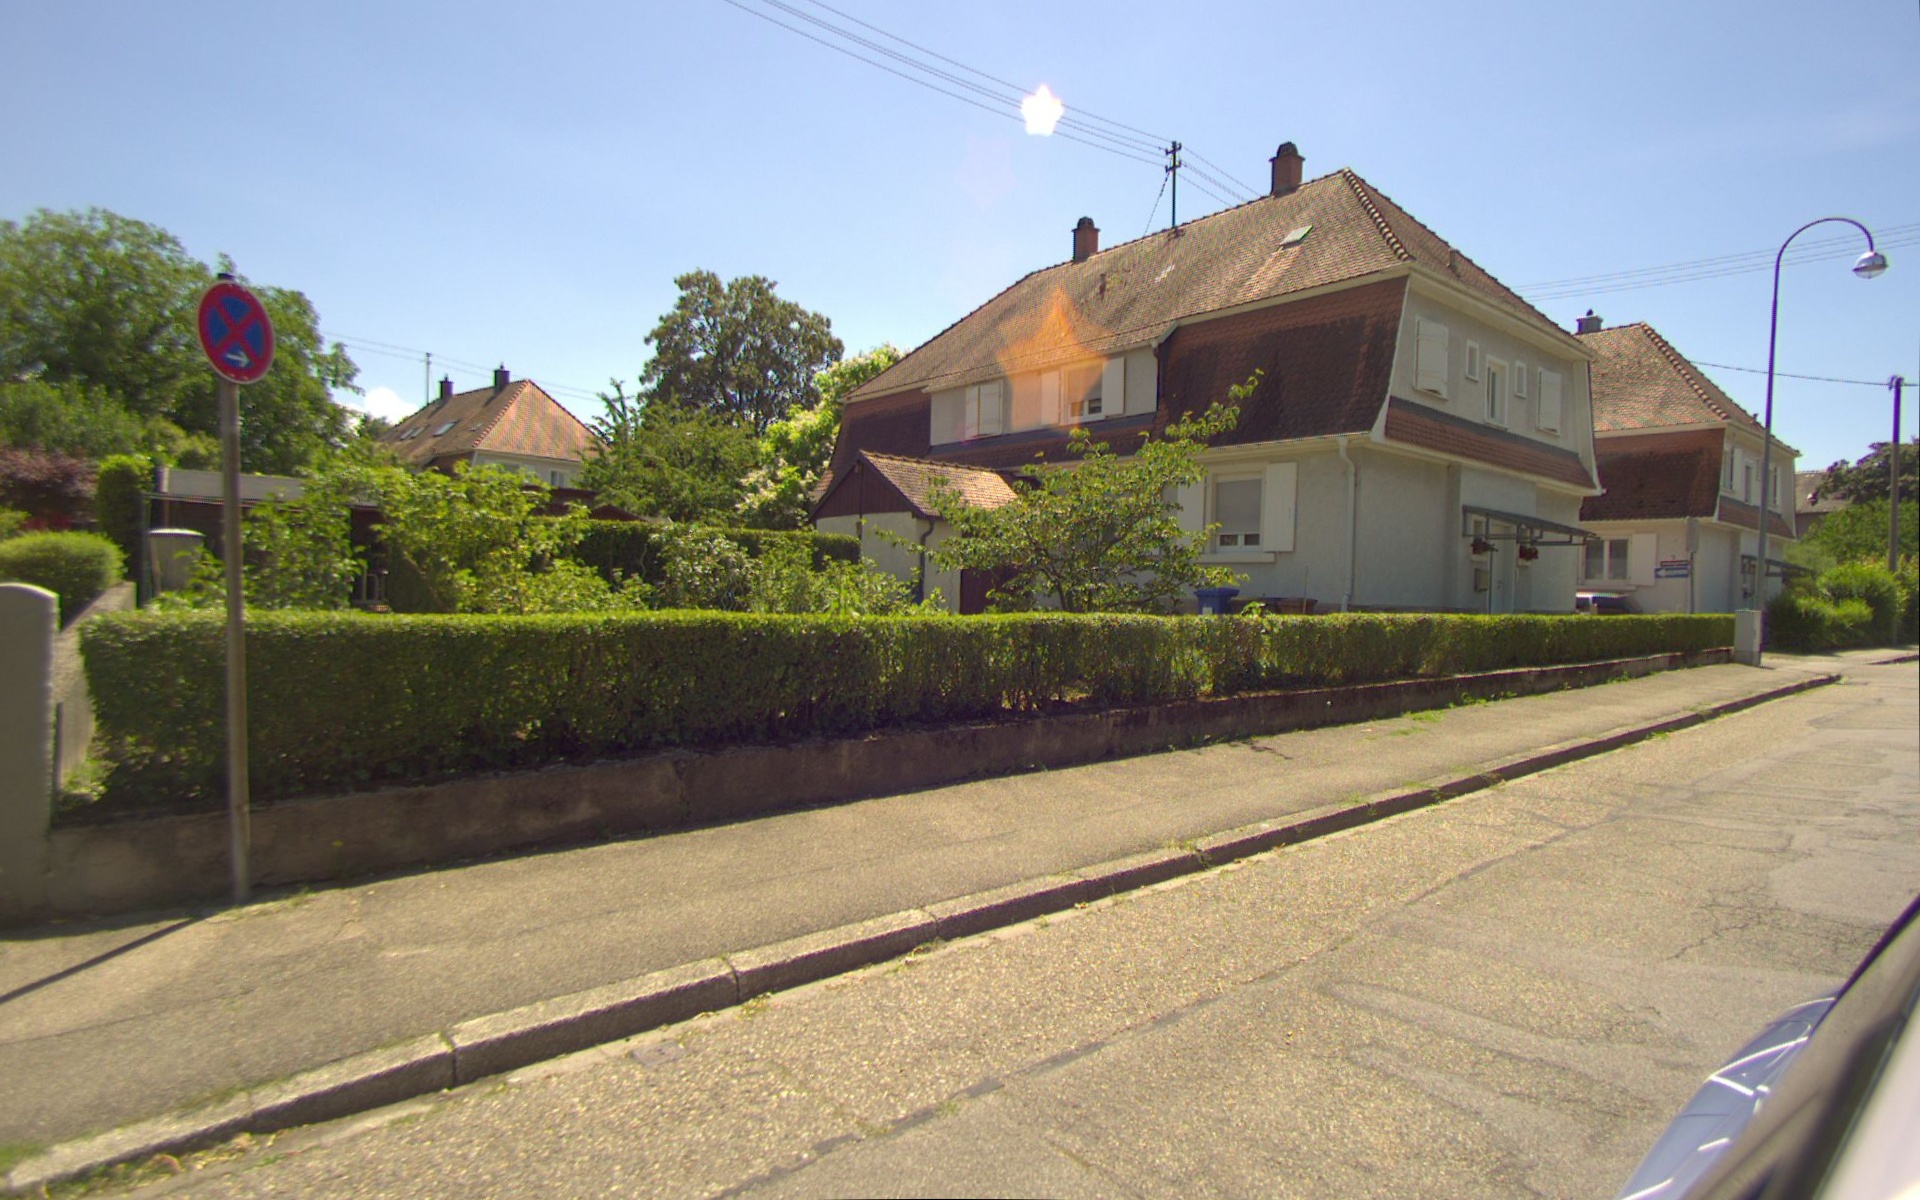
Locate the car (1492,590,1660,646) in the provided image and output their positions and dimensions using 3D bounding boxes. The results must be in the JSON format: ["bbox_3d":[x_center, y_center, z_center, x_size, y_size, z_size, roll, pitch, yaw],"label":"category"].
[{"bbox_3d":[18.324,0.478,30.226,1.664,1.555,4.002,0,0,-41],"label":"car"}]
